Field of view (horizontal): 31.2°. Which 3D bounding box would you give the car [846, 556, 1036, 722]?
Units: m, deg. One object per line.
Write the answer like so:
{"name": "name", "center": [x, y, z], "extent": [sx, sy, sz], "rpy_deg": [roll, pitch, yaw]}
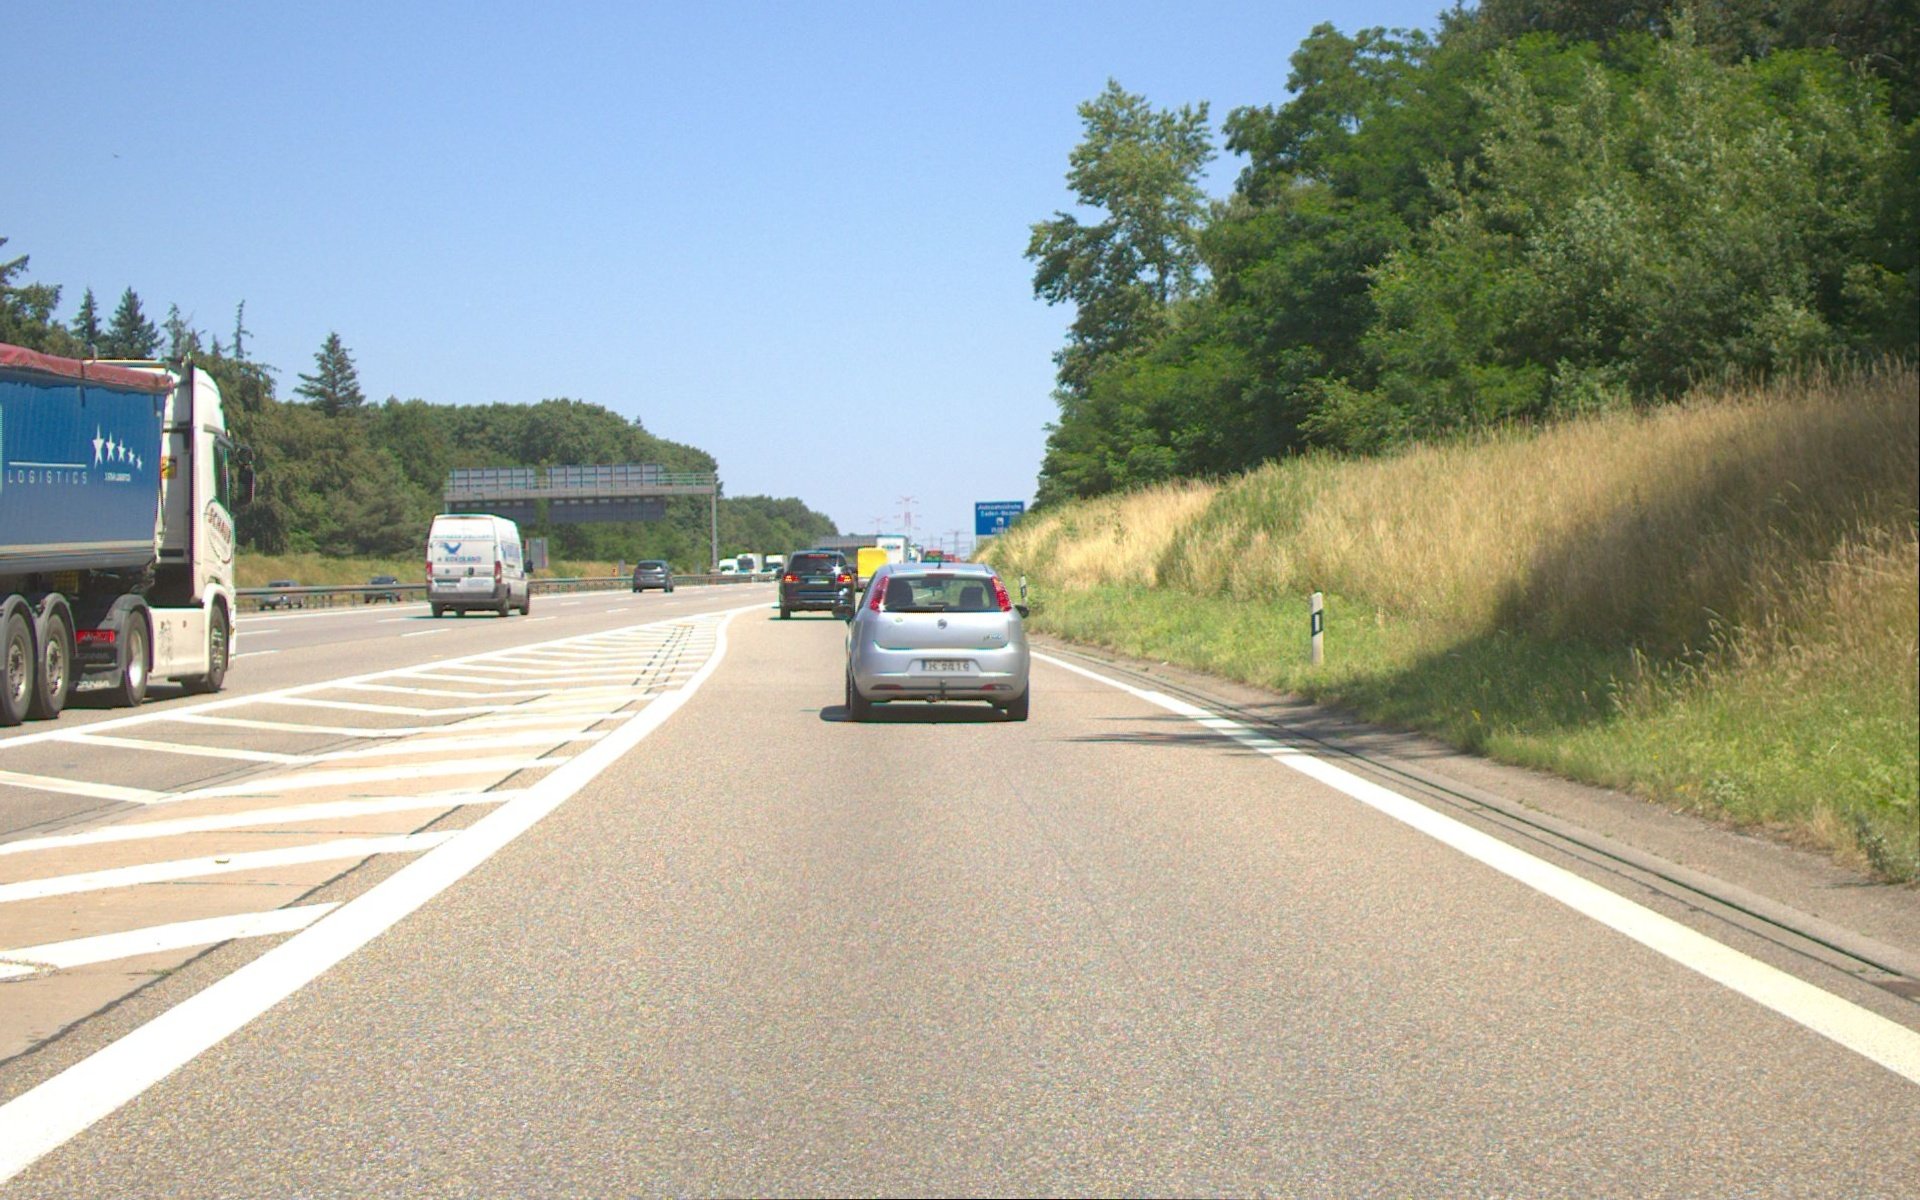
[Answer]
{"name": "car", "center": [-0.214, 0.329, 33.035], "extent": [1.719, 1.486, 3.737], "rpy_deg": [0, 1, -1]}

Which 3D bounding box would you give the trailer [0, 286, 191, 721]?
{"name": "trailer", "center": [-9.663, -0.869, 32.507], "extent": [2.737, 3.746, 9.109], "rpy_deg": [-1, 1, 0]}

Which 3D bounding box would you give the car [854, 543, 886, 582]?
{"name": "car", "center": [-4.677, -1.958, 178.624], "extent": [1.611, 2.007, 4.000], "rpy_deg": [0, 1, -1]}

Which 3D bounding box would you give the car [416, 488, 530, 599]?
{"name": "car", "center": [-13.347, -1.527, 94.518], "extent": [2.260, 2.940, 6.114], "rpy_deg": [0, 1, 0]}

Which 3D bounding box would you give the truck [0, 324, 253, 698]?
{"name": "truck", "center": [-9.680, -0.935, 37.518], "extent": [2.684, 3.746, 5.944], "rpy_deg": [-1, 1, 0]}

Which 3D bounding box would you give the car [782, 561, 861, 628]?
{"name": "car", "center": [-3.532, -0.155, 88.528], "extent": [1.832, 1.666, 4.000], "rpy_deg": [1, 0, 0]}

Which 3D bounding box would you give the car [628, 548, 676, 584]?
{"name": "car", "center": [-15.877, -1.778, 177.232], "extent": [2.156, 1.808, 4.860], "rpy_deg": [0, 1, -1]}
